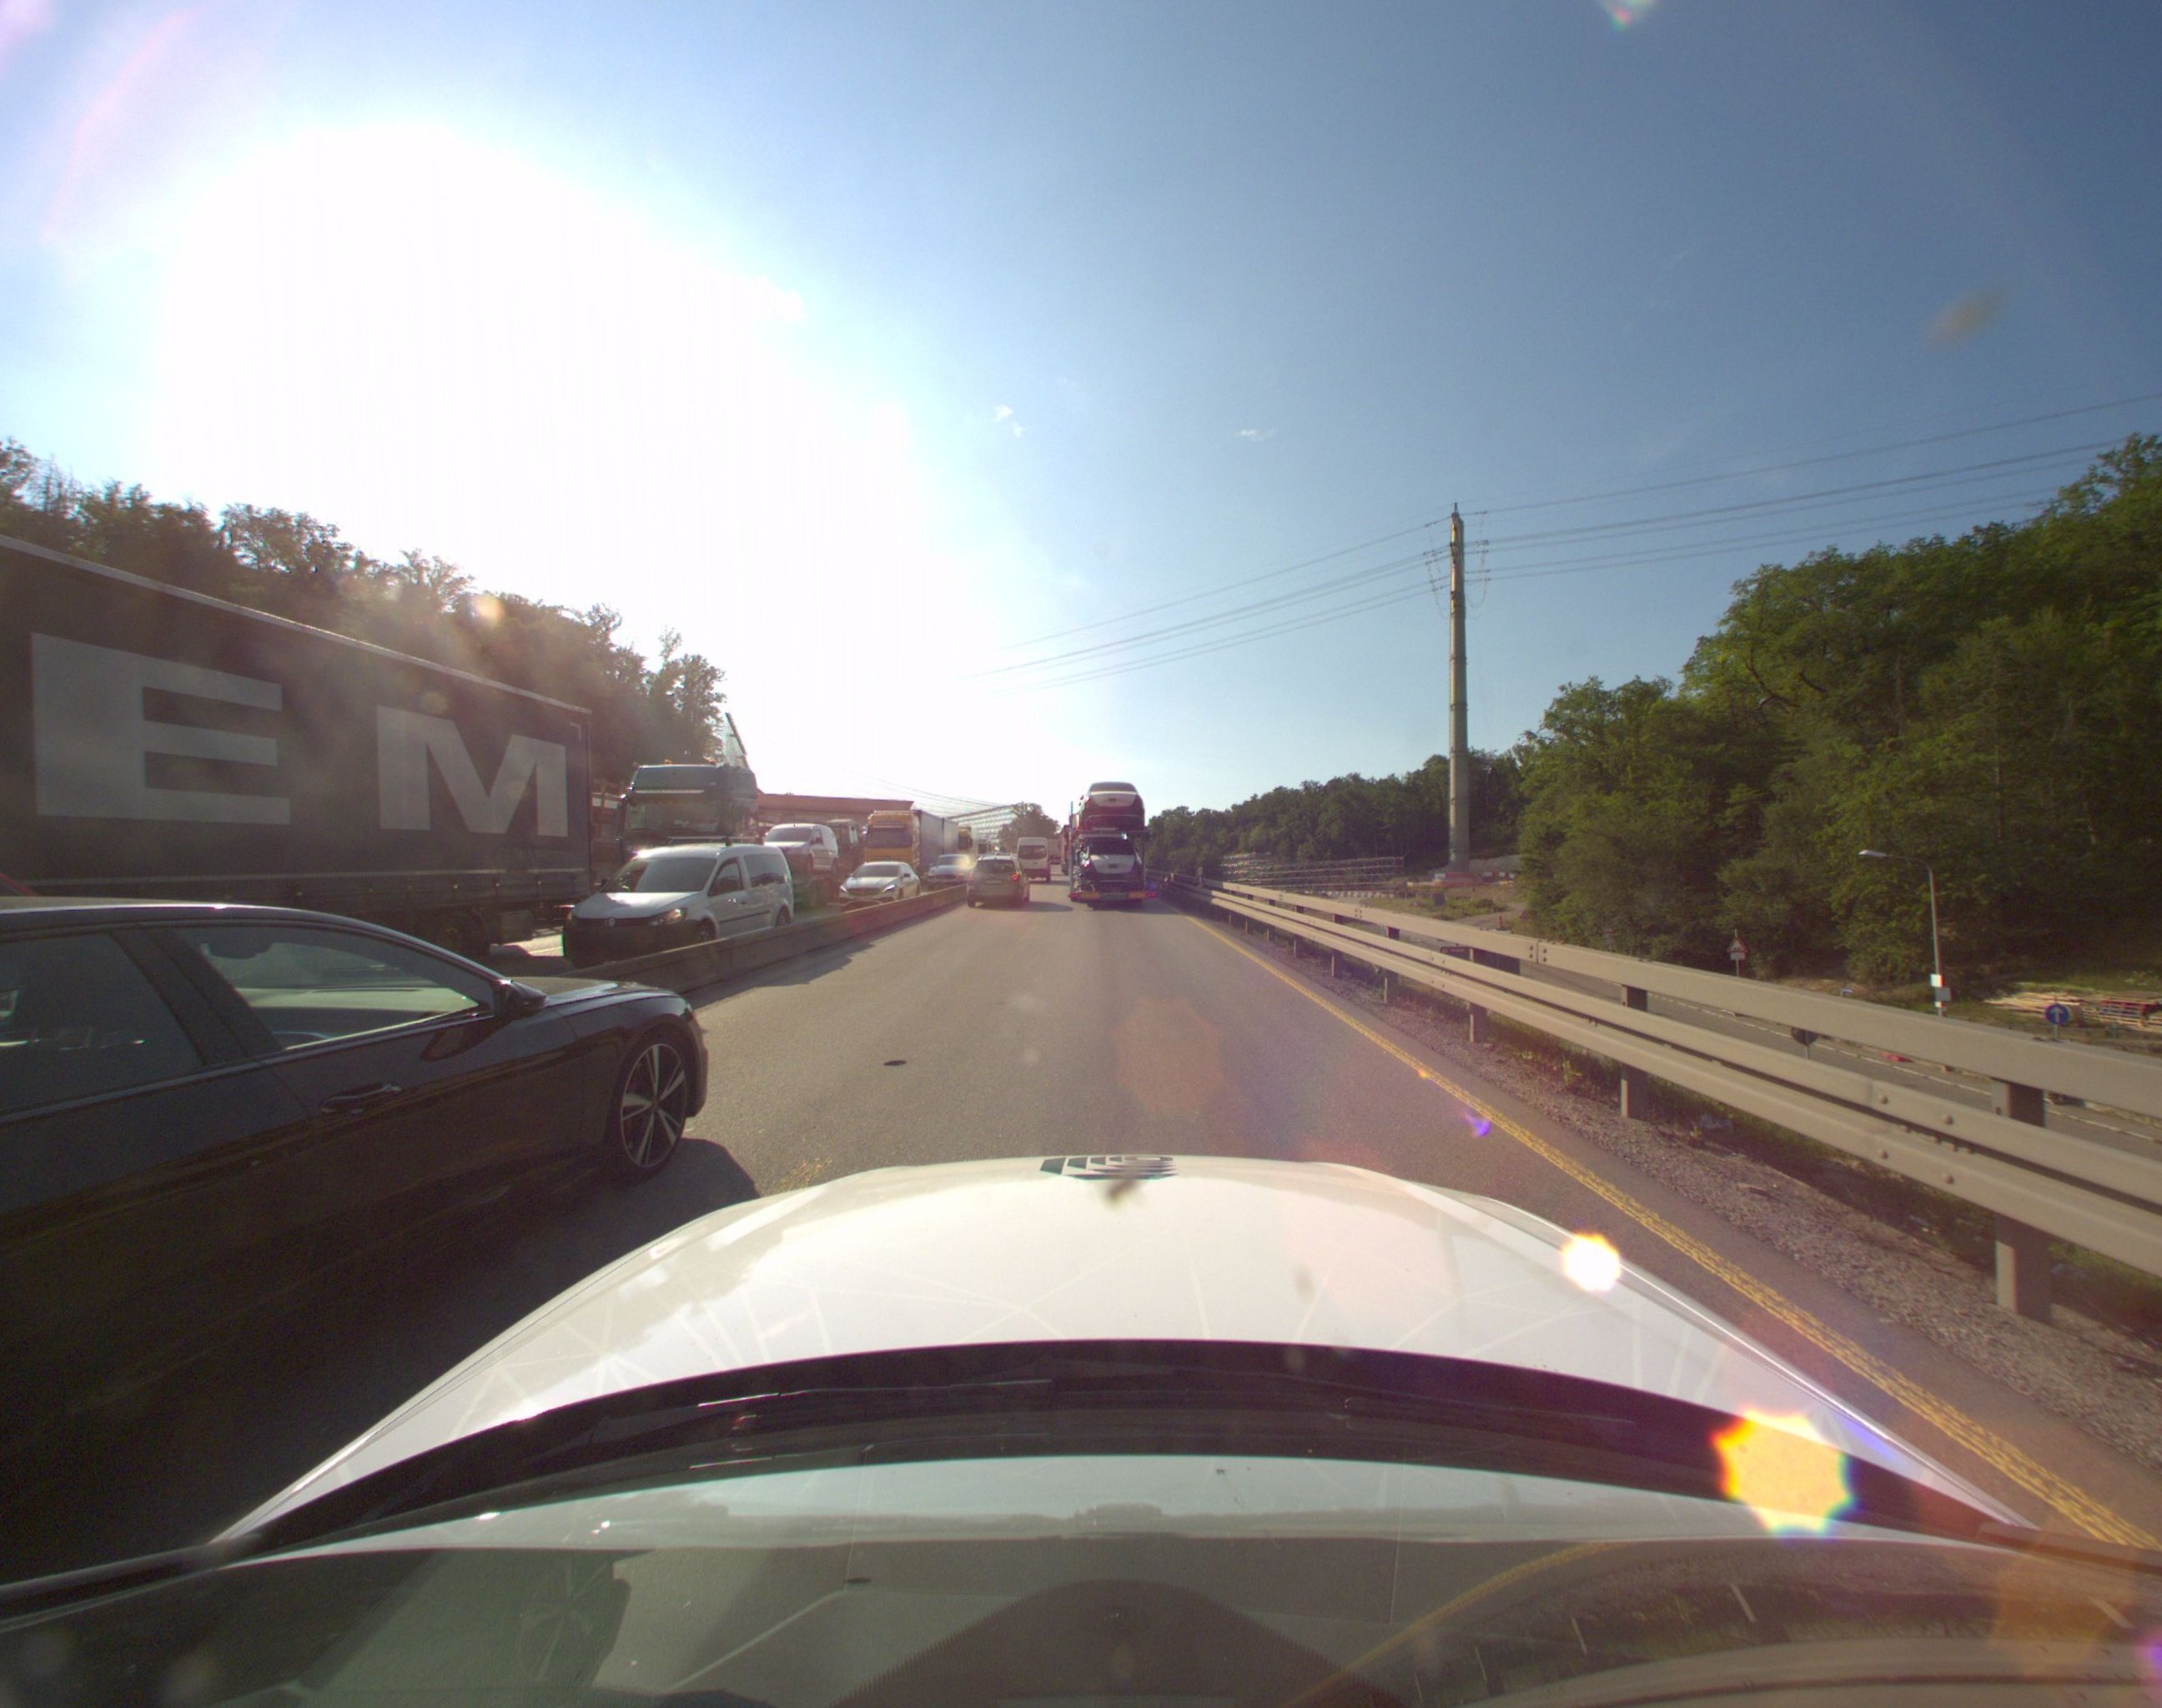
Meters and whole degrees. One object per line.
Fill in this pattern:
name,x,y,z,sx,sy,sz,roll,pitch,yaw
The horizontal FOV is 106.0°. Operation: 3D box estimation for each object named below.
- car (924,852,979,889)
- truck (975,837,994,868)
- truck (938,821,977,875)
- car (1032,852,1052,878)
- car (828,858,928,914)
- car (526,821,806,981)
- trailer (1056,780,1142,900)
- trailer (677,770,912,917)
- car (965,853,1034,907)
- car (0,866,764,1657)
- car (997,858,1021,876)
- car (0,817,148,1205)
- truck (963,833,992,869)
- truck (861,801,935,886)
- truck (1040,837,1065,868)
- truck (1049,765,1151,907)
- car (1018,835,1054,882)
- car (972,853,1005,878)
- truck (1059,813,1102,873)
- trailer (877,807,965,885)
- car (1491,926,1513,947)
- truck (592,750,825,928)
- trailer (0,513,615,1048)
car,-6.264,0.813,39.876,1.954,1.645,4.845,-1,-1,-1
truck,-13.657,-0.158,115.004,2.440,4.272,6.309,-1,-1,-5
truck,-10.036,-0.416,66.608,2.688,4.197,4.393,-1,-1,-3
car,-3.107,0.888,65.869,1.524,2.014,3.996,2,-1,-2
car,-6.224,0.951,25.603,1.796,1.522,4.817,-2,-1,1
car,-6.144,0.653,12.934,1.818,1.933,5.127,-3,-1,-1
trailer,0.719,-0.329,35.075,2.865,3.994,15.279,-1,-1,1
trailer,-9.261,-0.206,29.565,2.740,3.816,16.043,-2,-1,0
car,-2.578,0.826,26.518,1.694,1.587,4.148,-1,-1,1
car,-2.992,0.805,2.382,1.933,1.480,5.223,-1,-1,1
car,-6.320,1.141,72.001,1.783,1.498,4.721,-1,-1,-1
car,-6.424,0.757,2.301,1.826,1.964,4.899,-1,-2,1
truck,-12.470,-0.225,98.967,2.804,3.970,13.868,0,-1,-5
truck,-9.541,-0.467,43.090,2.694,4.141,5.790,-1,-1,-2
truck,-4.540,-0.271,128.459,3.640,4.677,11.683,0,0,-3
truck,0.583,-0.456,26.053,2.860,3.980,5.771,-1,-1,1
car,-2.637,0.310,48.695,1.973,2.684,4.144,-1,-1,-1
car,-6.480,0.822,57.456,1.921,1.702,4.688,-1,-1,-1
truck,-0.208,-0.874,69.275,3.220,4.677,11.686,0,0,-2
trailer,-9.775,-0.278,52.037,2.707,4.135,16.739,-1,-1,-1
car,36.654,7.137,70.852,1.511,1.461,4.294,-2,-1,29
truck,-9.270,-0.289,21.358,2.740,3.805,7.110,-2,-1,0
trailer,-9.639,-0.521,7.999,2.705,4.123,12.492,-2,-1,1
